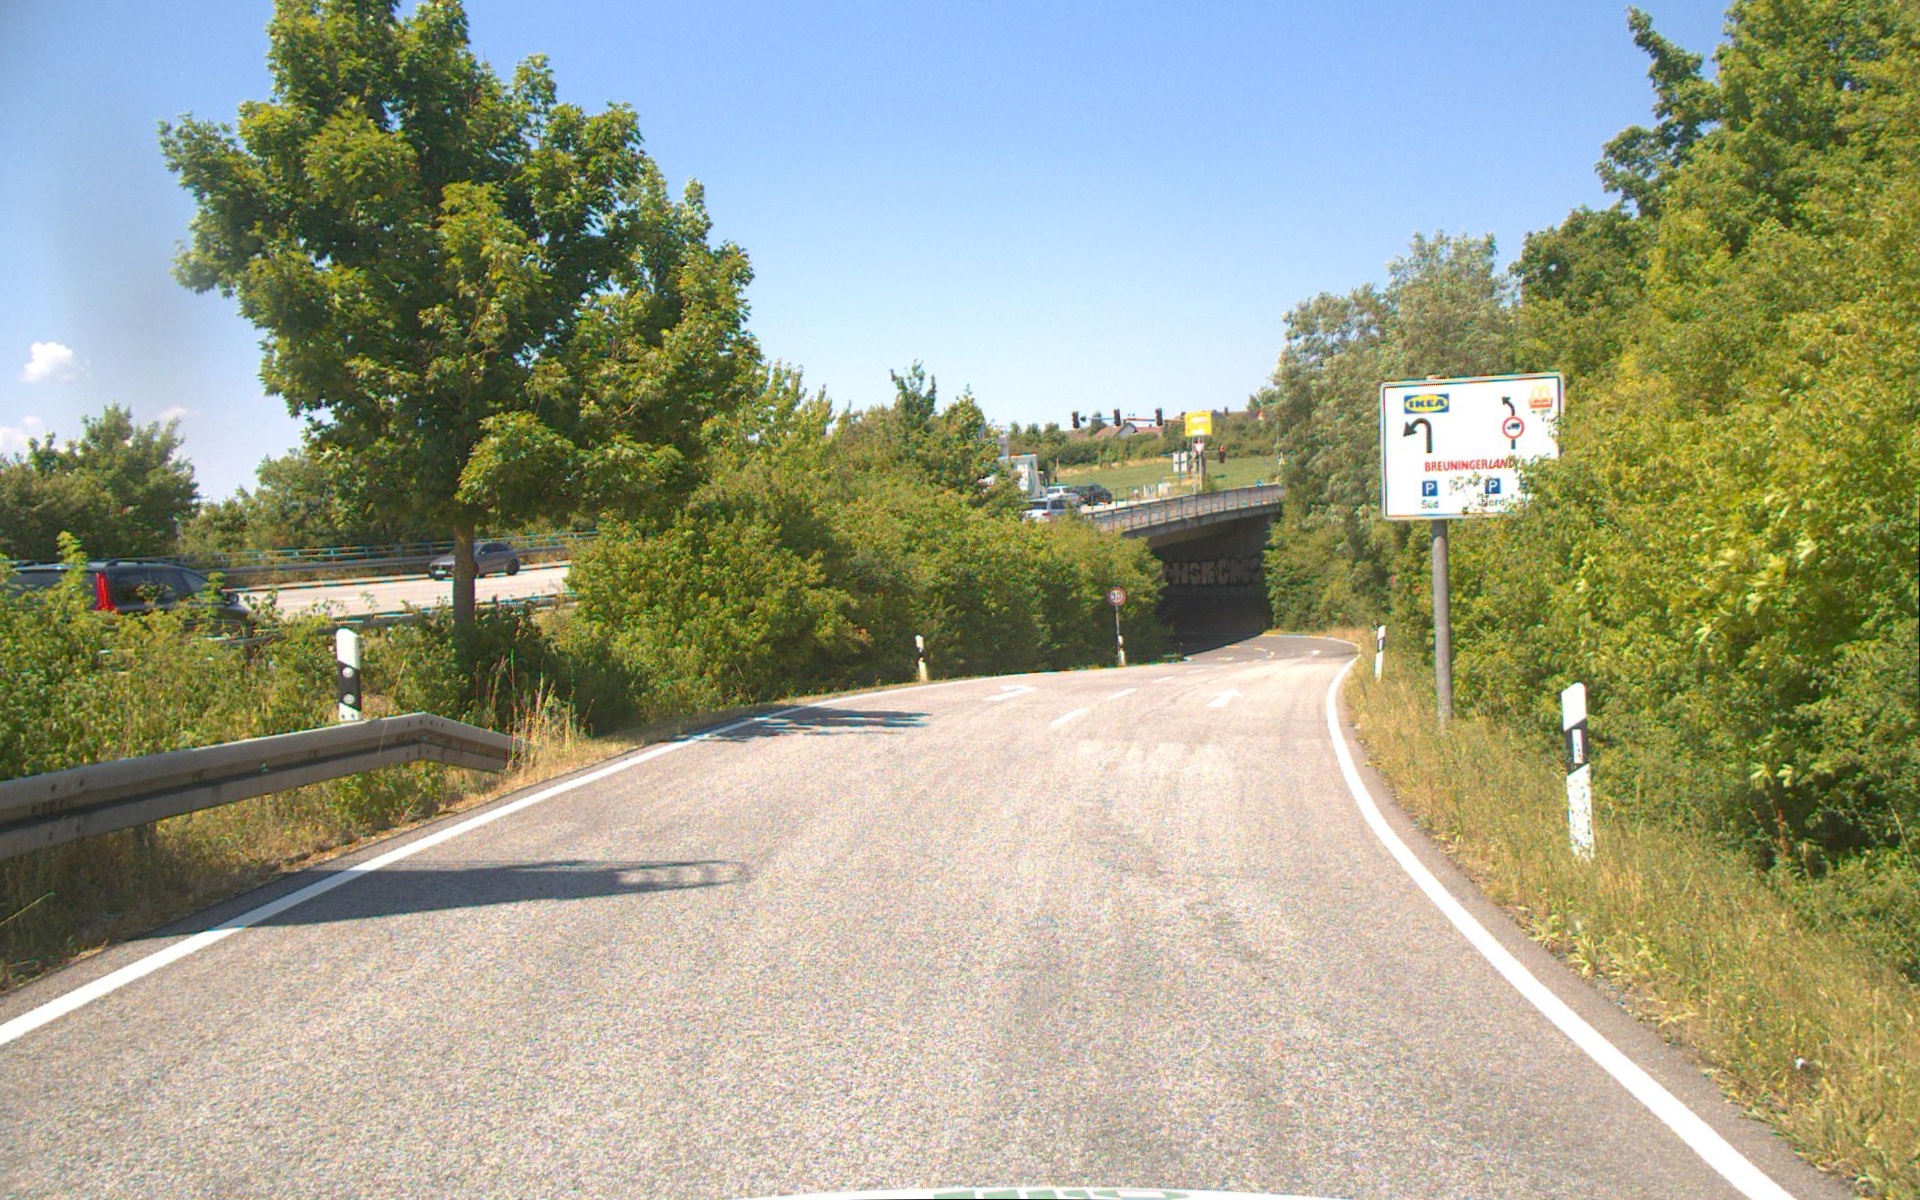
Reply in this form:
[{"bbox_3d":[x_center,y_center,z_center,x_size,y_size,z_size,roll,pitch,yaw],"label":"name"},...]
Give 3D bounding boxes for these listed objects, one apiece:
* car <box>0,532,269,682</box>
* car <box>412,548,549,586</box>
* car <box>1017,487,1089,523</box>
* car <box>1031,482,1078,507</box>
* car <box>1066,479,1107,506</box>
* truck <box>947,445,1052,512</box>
[{"bbox_3d":[-10.141,0.058,20.186,1.697,1.572,4.730,-2,1,-5],"label":"car"},{"bbox_3d":[-19.293,-1.357,66.832,2.108,1.467,5.837,0,1,23],"label":"car"},{"bbox_3d":[4.203,-4.246,73.895,1.953,1.445,4.001,-3,2,22],"label":"car"},{"bbox_3d":[6.109,-6.776,106.905,1.858,1.387,4.000,0,1,22],"label":"car"},{"bbox_3d":[8.718,-7.360,113.615,1.952,1.646,4.002,0,1,18],"label":"car"},{"bbox_3d":[2.494,-7.301,100.467,2.966,3.651,8.901,-3,2,24],"label":"truck"}]
